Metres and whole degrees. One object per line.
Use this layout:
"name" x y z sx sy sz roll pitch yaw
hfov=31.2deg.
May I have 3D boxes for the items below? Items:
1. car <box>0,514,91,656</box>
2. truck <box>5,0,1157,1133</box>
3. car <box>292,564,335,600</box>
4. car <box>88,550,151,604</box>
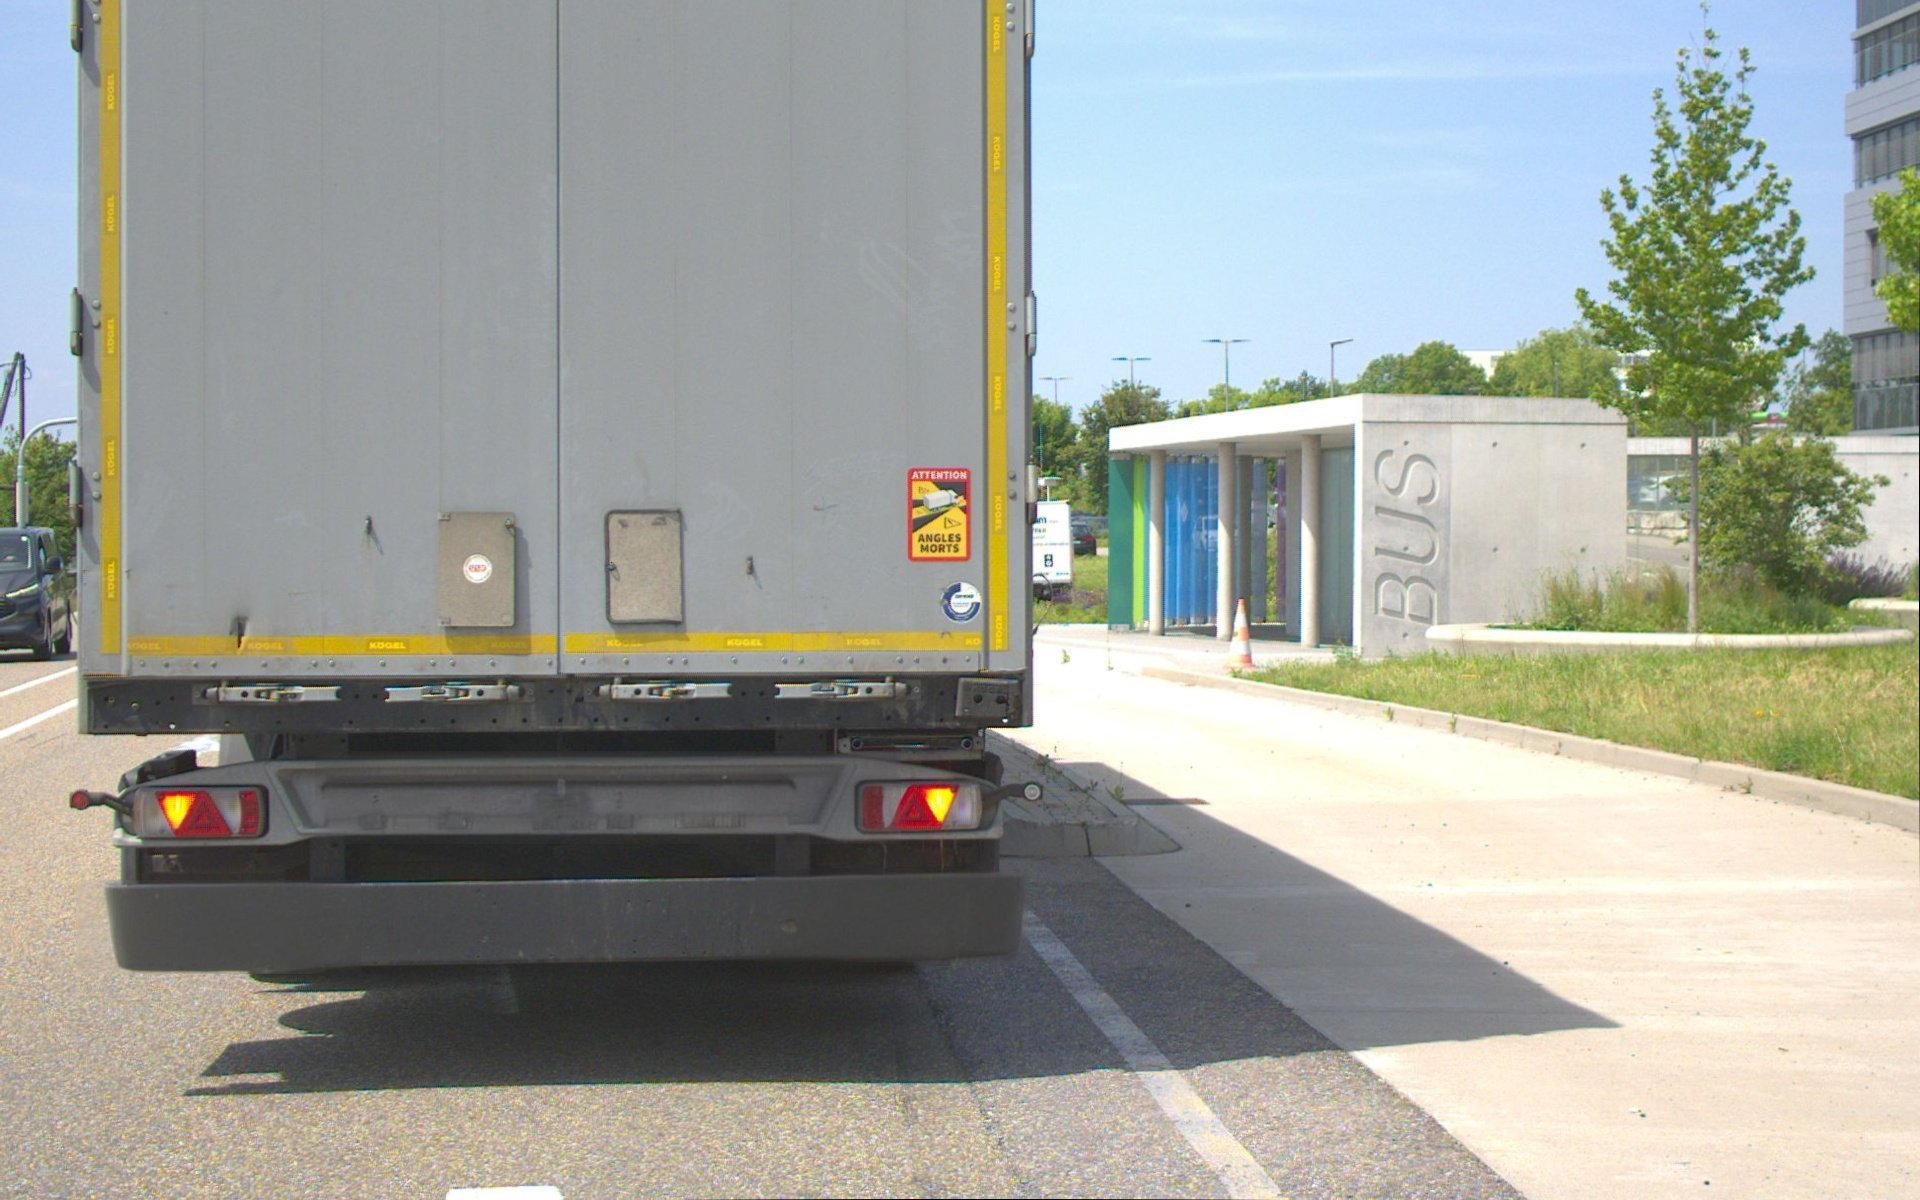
"car" -14.197 -0.231 50.964 1.993 1.971 5.280 -2 1 -9
"truck" -1.366 -0.939 13.142 2.906 4.395 8.862 0 1 -6
"car" -38.798 -1.093 206.328 2.171 2.007 4.527 -2 1 -7
"car" -29.271 -0.815 119.809 1.993 1.781 4.001 -2 1 -13
